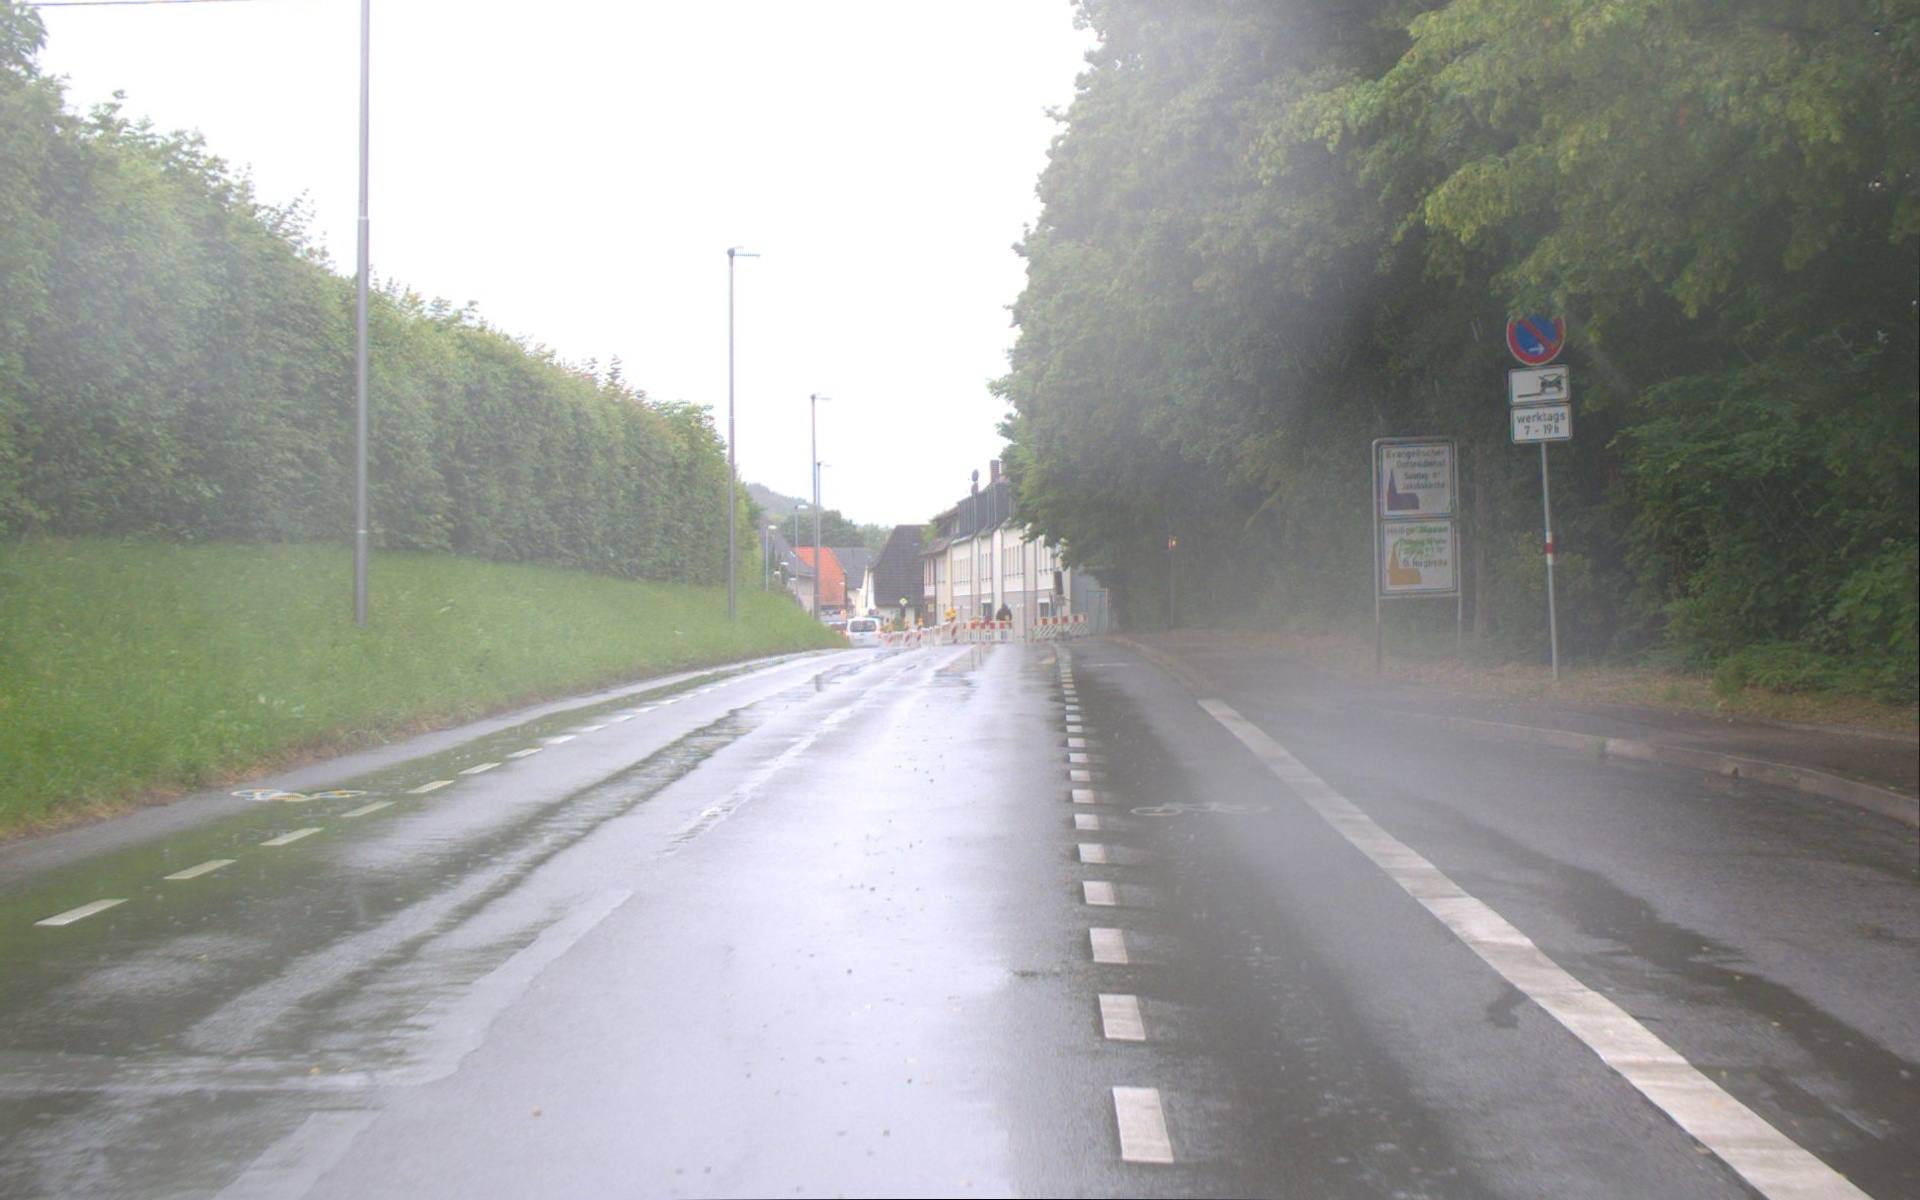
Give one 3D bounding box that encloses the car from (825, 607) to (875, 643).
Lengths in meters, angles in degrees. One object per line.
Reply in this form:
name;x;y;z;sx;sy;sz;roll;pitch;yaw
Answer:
car;-5.425;1.220;168.640;1.993;1.605;4.001;2;1;-8
